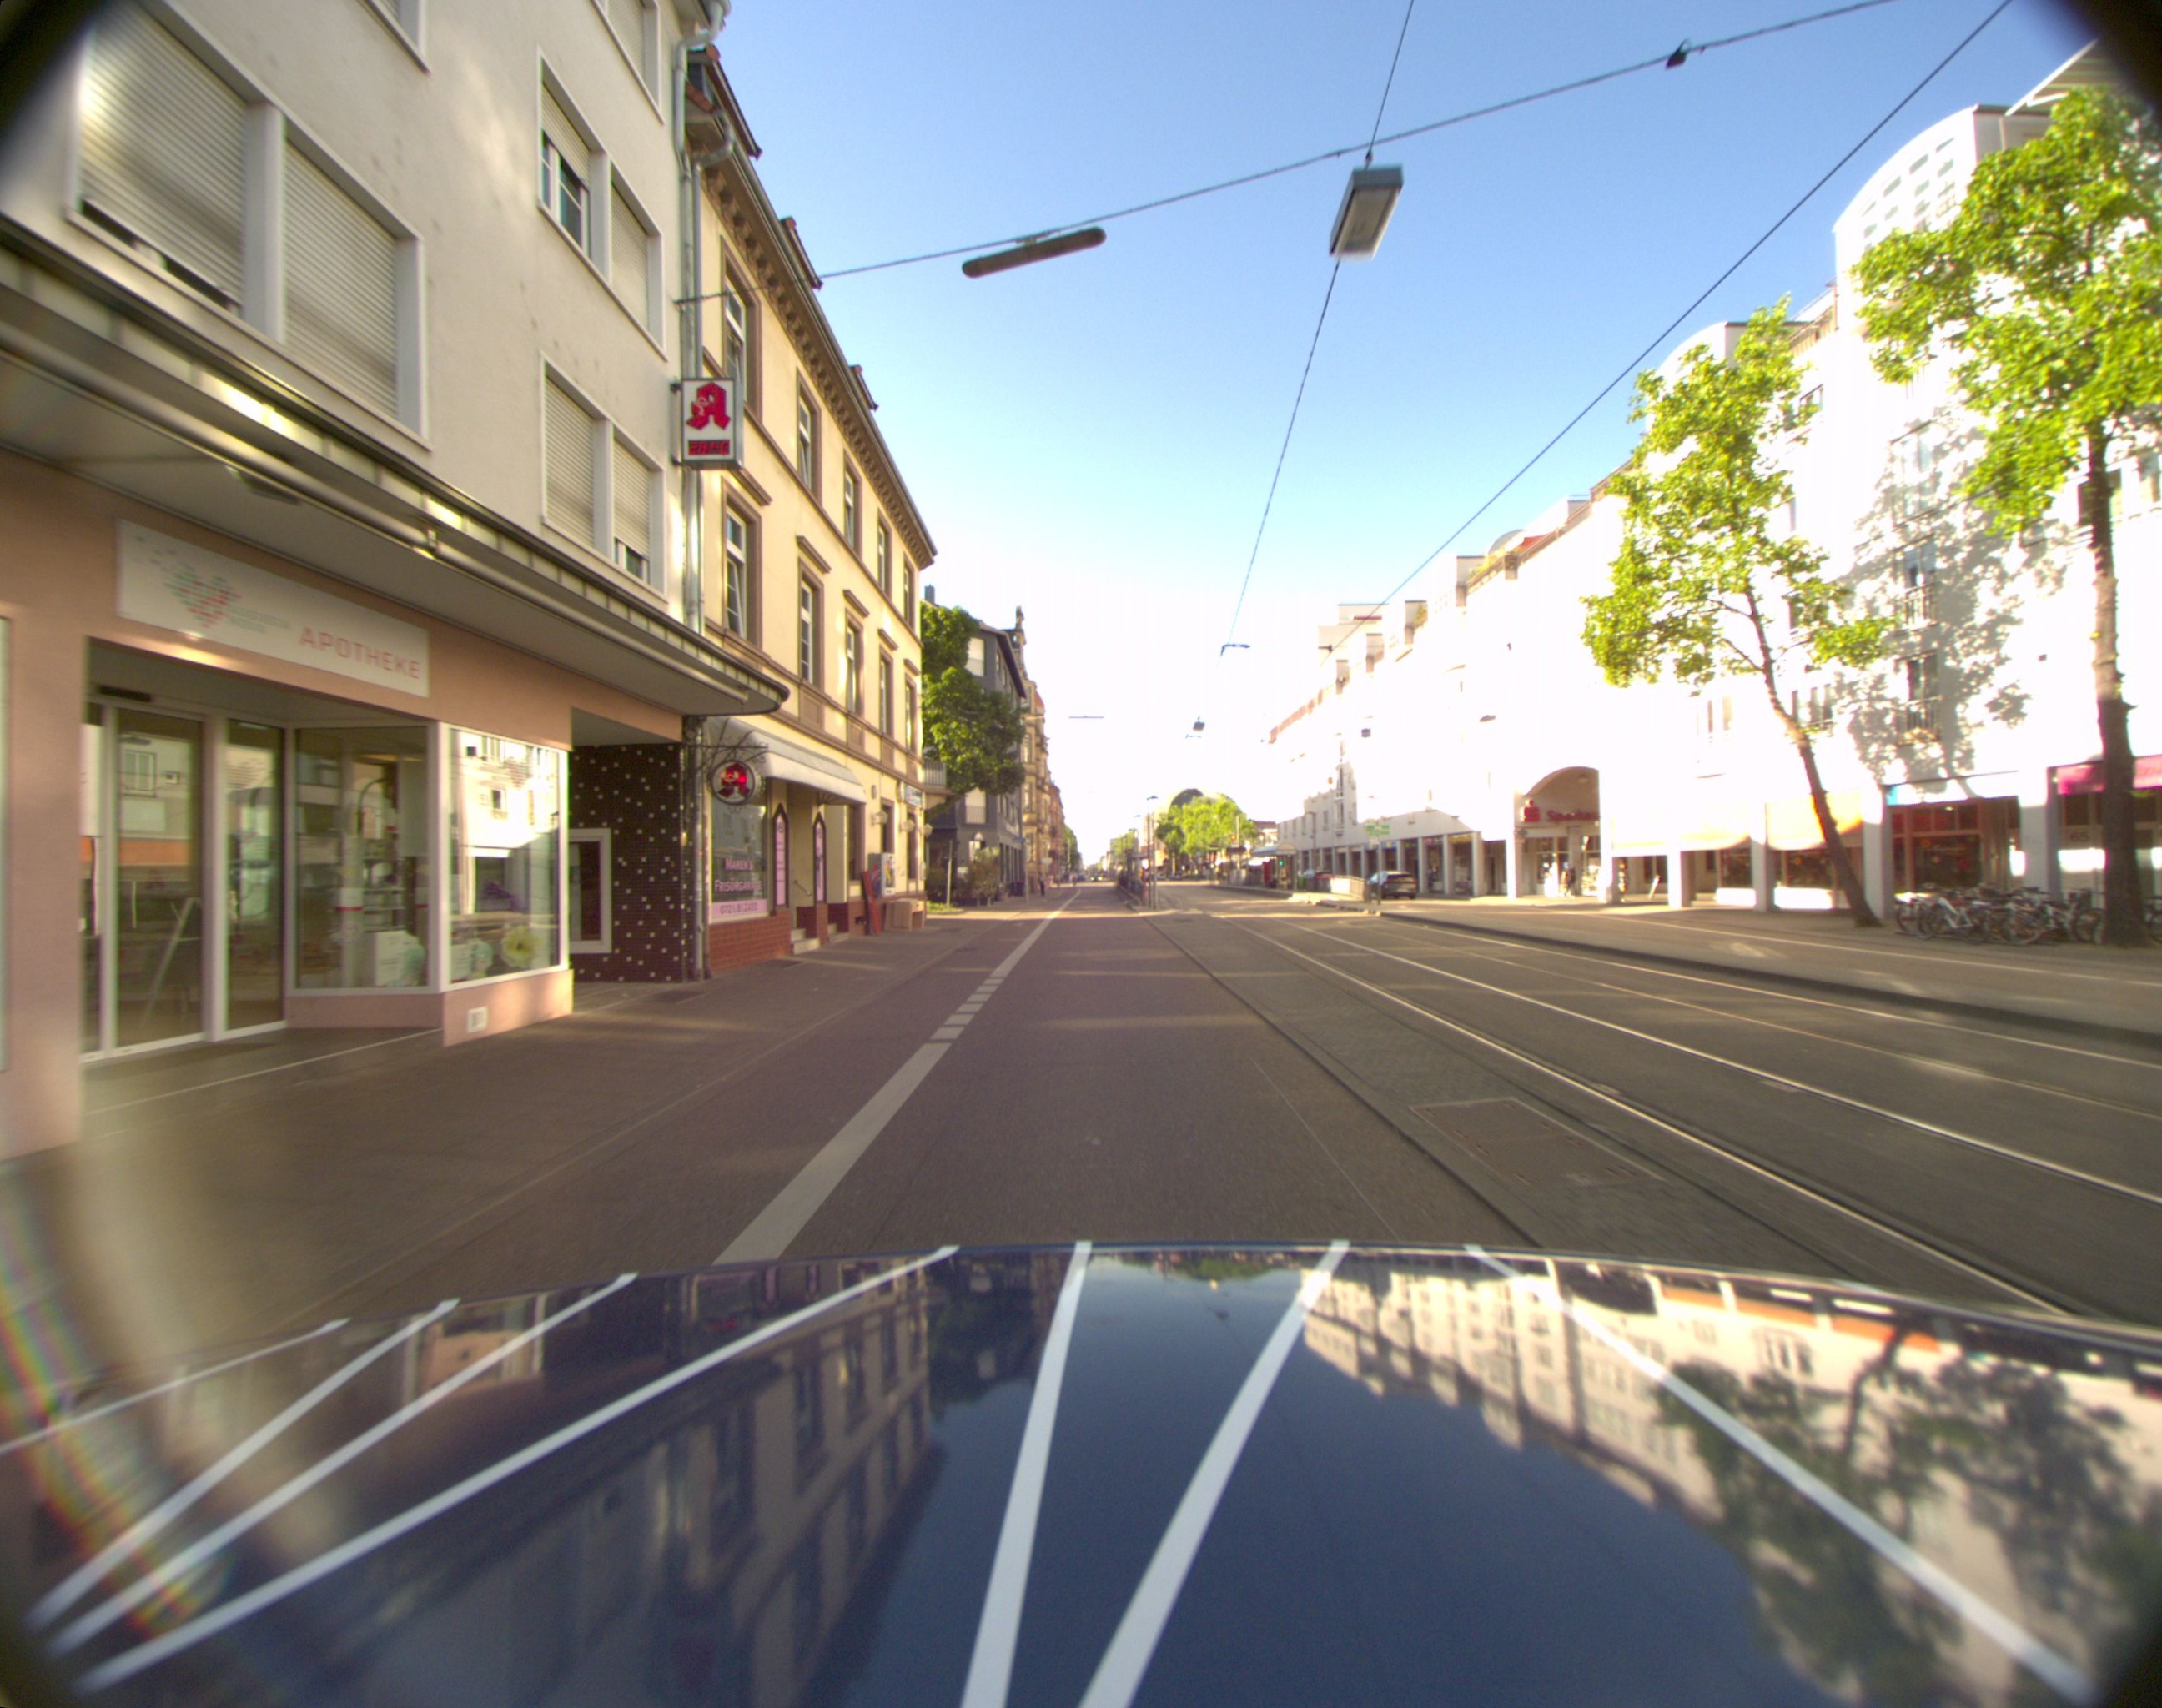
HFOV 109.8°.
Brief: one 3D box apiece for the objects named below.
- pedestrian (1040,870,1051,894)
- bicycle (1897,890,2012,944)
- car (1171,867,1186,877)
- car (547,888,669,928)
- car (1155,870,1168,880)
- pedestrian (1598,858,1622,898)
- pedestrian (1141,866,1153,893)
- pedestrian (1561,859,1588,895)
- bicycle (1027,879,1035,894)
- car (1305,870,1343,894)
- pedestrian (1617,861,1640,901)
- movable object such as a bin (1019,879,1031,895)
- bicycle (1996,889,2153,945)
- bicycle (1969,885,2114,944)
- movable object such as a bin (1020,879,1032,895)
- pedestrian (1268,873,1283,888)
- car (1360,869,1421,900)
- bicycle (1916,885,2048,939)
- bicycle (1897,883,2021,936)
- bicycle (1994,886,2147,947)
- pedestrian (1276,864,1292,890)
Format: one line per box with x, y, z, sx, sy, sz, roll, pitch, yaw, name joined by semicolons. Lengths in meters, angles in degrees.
-2.589;2.021;54.888;0.695;1.680;0.688;-2;-1;1;pedestrian
17.033;1.204;14.877;0.470;0.926;1.756;-1;-1;10;bicycle
16.512;3.122;128.920;1.998;1.608;4.001;-2;-2;1;car
-18.212;2.039;29.421;1.642;1.353;3.665;-2;-1;27;car
15.949;4.226;150.069;1.999;1.892;4.000;-1;-1;-2;car
21.499;0.977;30.904;0.563;1.634;0.523;-1;-1;1;pedestrian
4.092;1.586;46.964;0.716;1.634;0.400;-1;0;3;pedestrian
22.933;1.066;35.335;0.747;1.634;0.731;-1;-1;1;pedestrian
-3.679;2.386;55.872;0.377;1.052;1.513;-2;-1;1;bicycle
17.575;1.989;55.146;1.783;1.658;4.775;0;-1;7;car
22.269;1.093;30.904;0.563;1.634;0.523;0;-1;1;pedestrian
-3.817;2.256;51.668;0.717;1.062;0.637;-2;-1;0;movable object such as a bin
17.562;1.113;13.469;1.751;0.926;0.571;-1;-1;10;bicycle
18.176;1.148;14.408;1.876;1.070;0.465;-1;-1;9;bicycle
-3.804;2.265;52.401;0.717;1.062;0.637;-2;-1;0;movable object such as a bin
13.275;1.814;51.871;0.794;0.982;0.748;-2;-1;1;pedestrian
16.766;1.607;41.416;1.783;1.531;4.269;1;-1;3;car
18.407;1.183;15.545;1.876;1.070;0.465;-1;-1;9;bicycle
18.669;1.173;16.180;1.877;1.070;0.512;-1;-1;6;bicycle
18.093;1.138;13.922;1.876;1.070;0.465;-1;-1;9;bicycle
12.772;1.451;47.765;0.794;1.634;0.748;-2;-1;1;pedestrian
